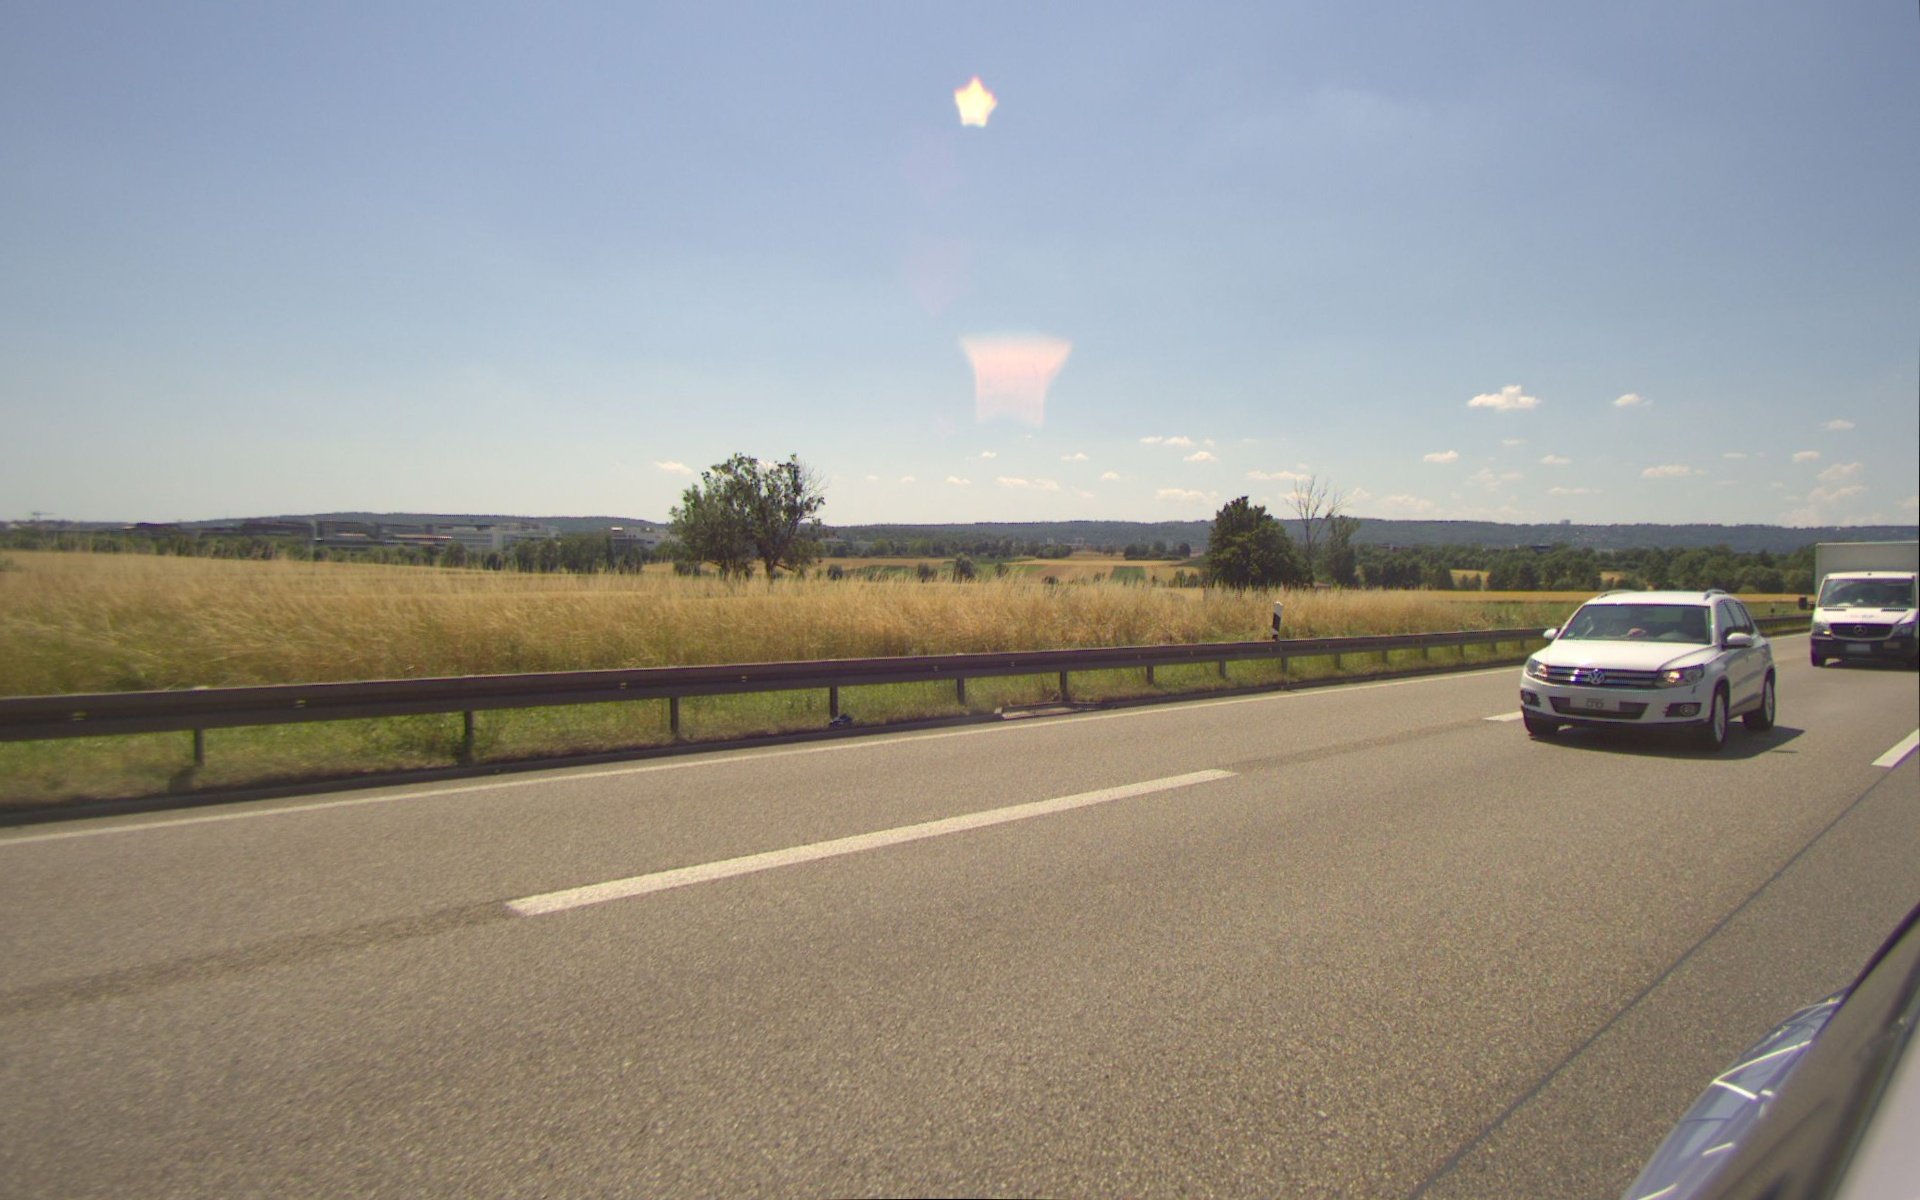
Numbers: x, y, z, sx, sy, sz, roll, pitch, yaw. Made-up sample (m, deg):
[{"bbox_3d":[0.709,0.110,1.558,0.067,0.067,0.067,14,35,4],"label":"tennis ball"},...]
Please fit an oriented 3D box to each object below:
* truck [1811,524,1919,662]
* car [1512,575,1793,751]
[{"bbox_3d":[23.231,-0.160,25.248,6.803,3.066,2.440,0,0,-45],"label":"truck"},{"bbox_3d":[8.089,0.598,11.683,4.102,1.666,1.834,0,0,-43],"label":"car"}]
